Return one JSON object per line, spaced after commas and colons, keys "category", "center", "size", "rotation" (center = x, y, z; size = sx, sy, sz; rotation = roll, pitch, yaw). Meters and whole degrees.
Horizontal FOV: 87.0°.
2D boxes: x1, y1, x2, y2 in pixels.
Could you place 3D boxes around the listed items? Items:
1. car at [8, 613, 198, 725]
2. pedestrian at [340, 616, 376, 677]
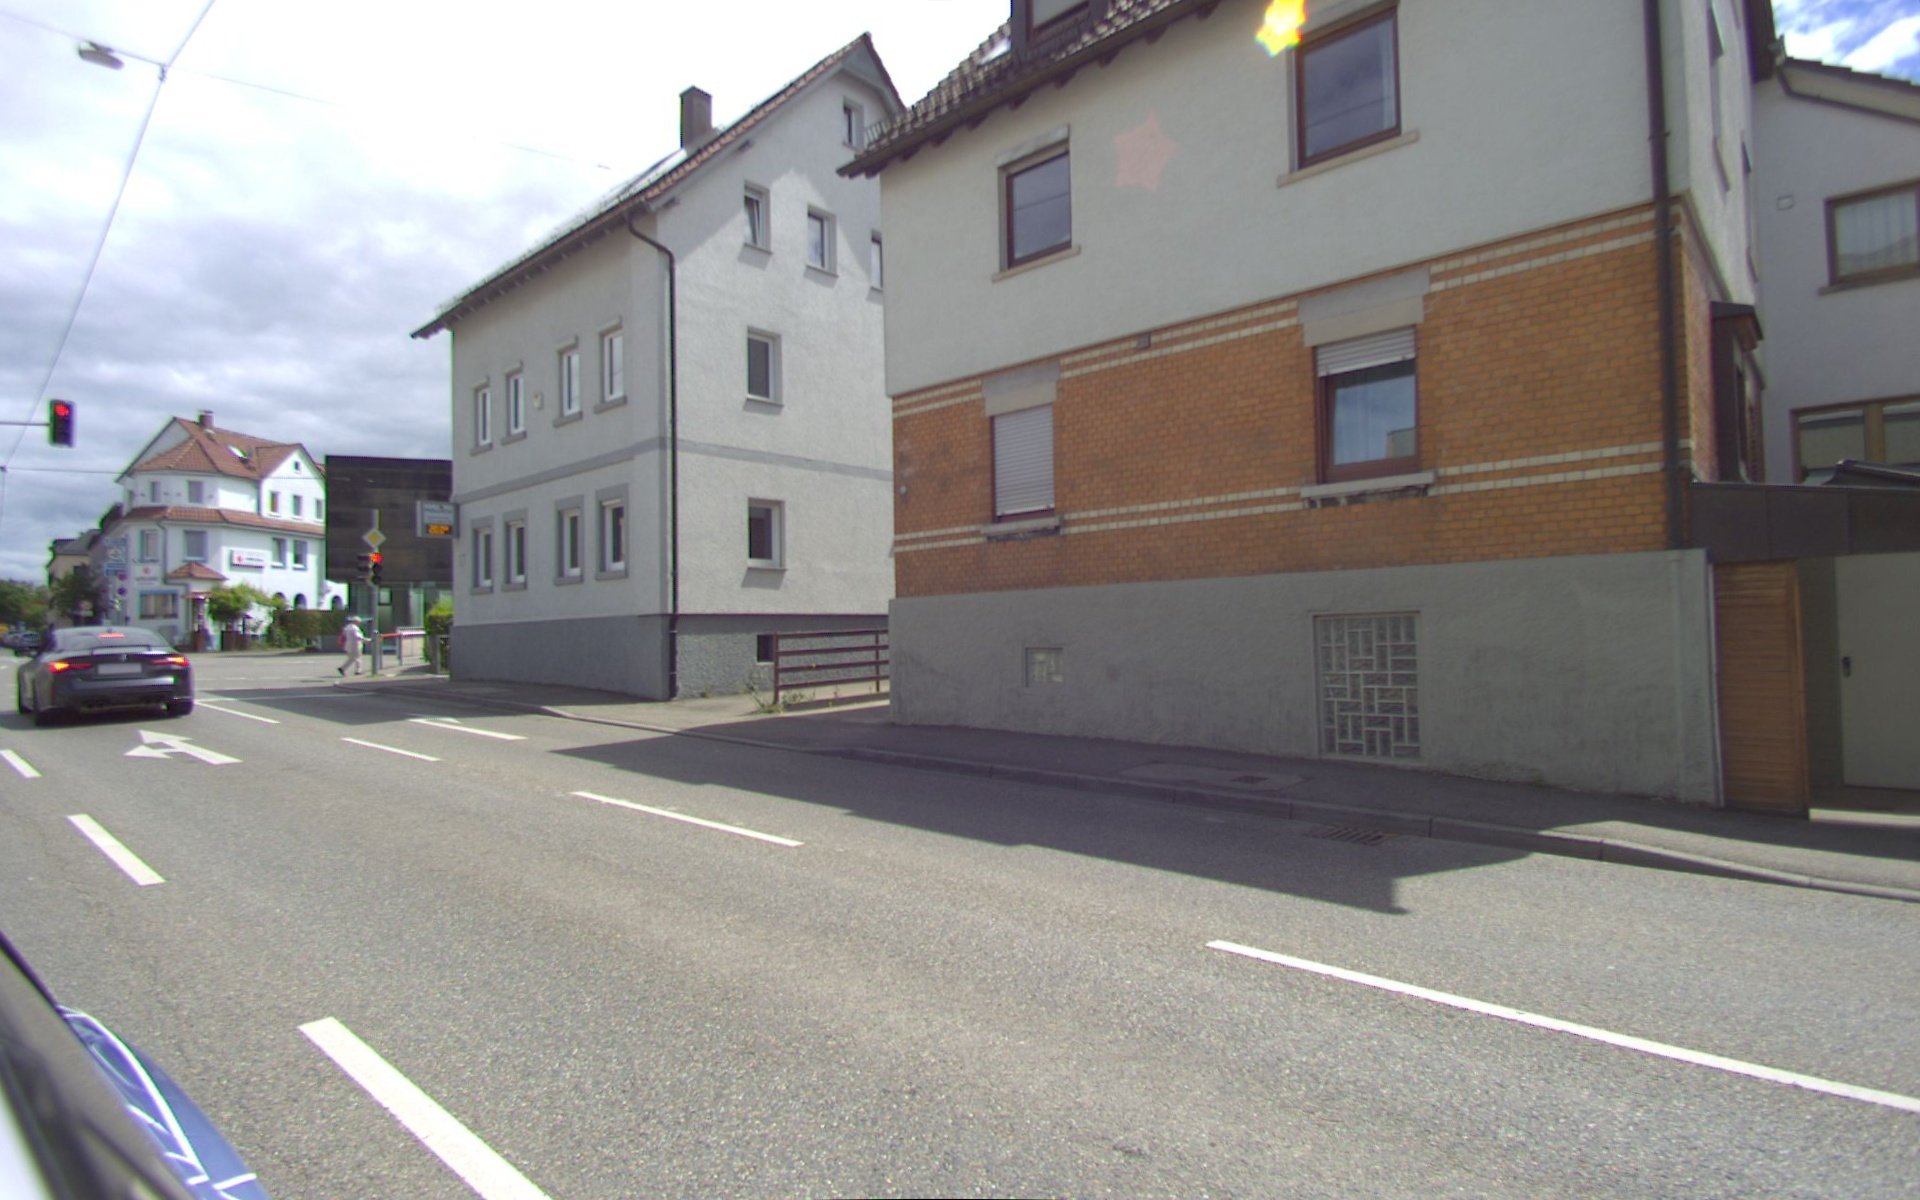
{"category": "car", "center": [-13.516, 1.028, 15.883], "size": [3.999, 1.497, 1.771], "rotation": [-3, -1, 42]}
{"category": "pedestrian", "center": [-16.133, 1.232, 27.113], "size": [0.679, 1.620, 0.579], "rotation": [-1, 0, 31]}
